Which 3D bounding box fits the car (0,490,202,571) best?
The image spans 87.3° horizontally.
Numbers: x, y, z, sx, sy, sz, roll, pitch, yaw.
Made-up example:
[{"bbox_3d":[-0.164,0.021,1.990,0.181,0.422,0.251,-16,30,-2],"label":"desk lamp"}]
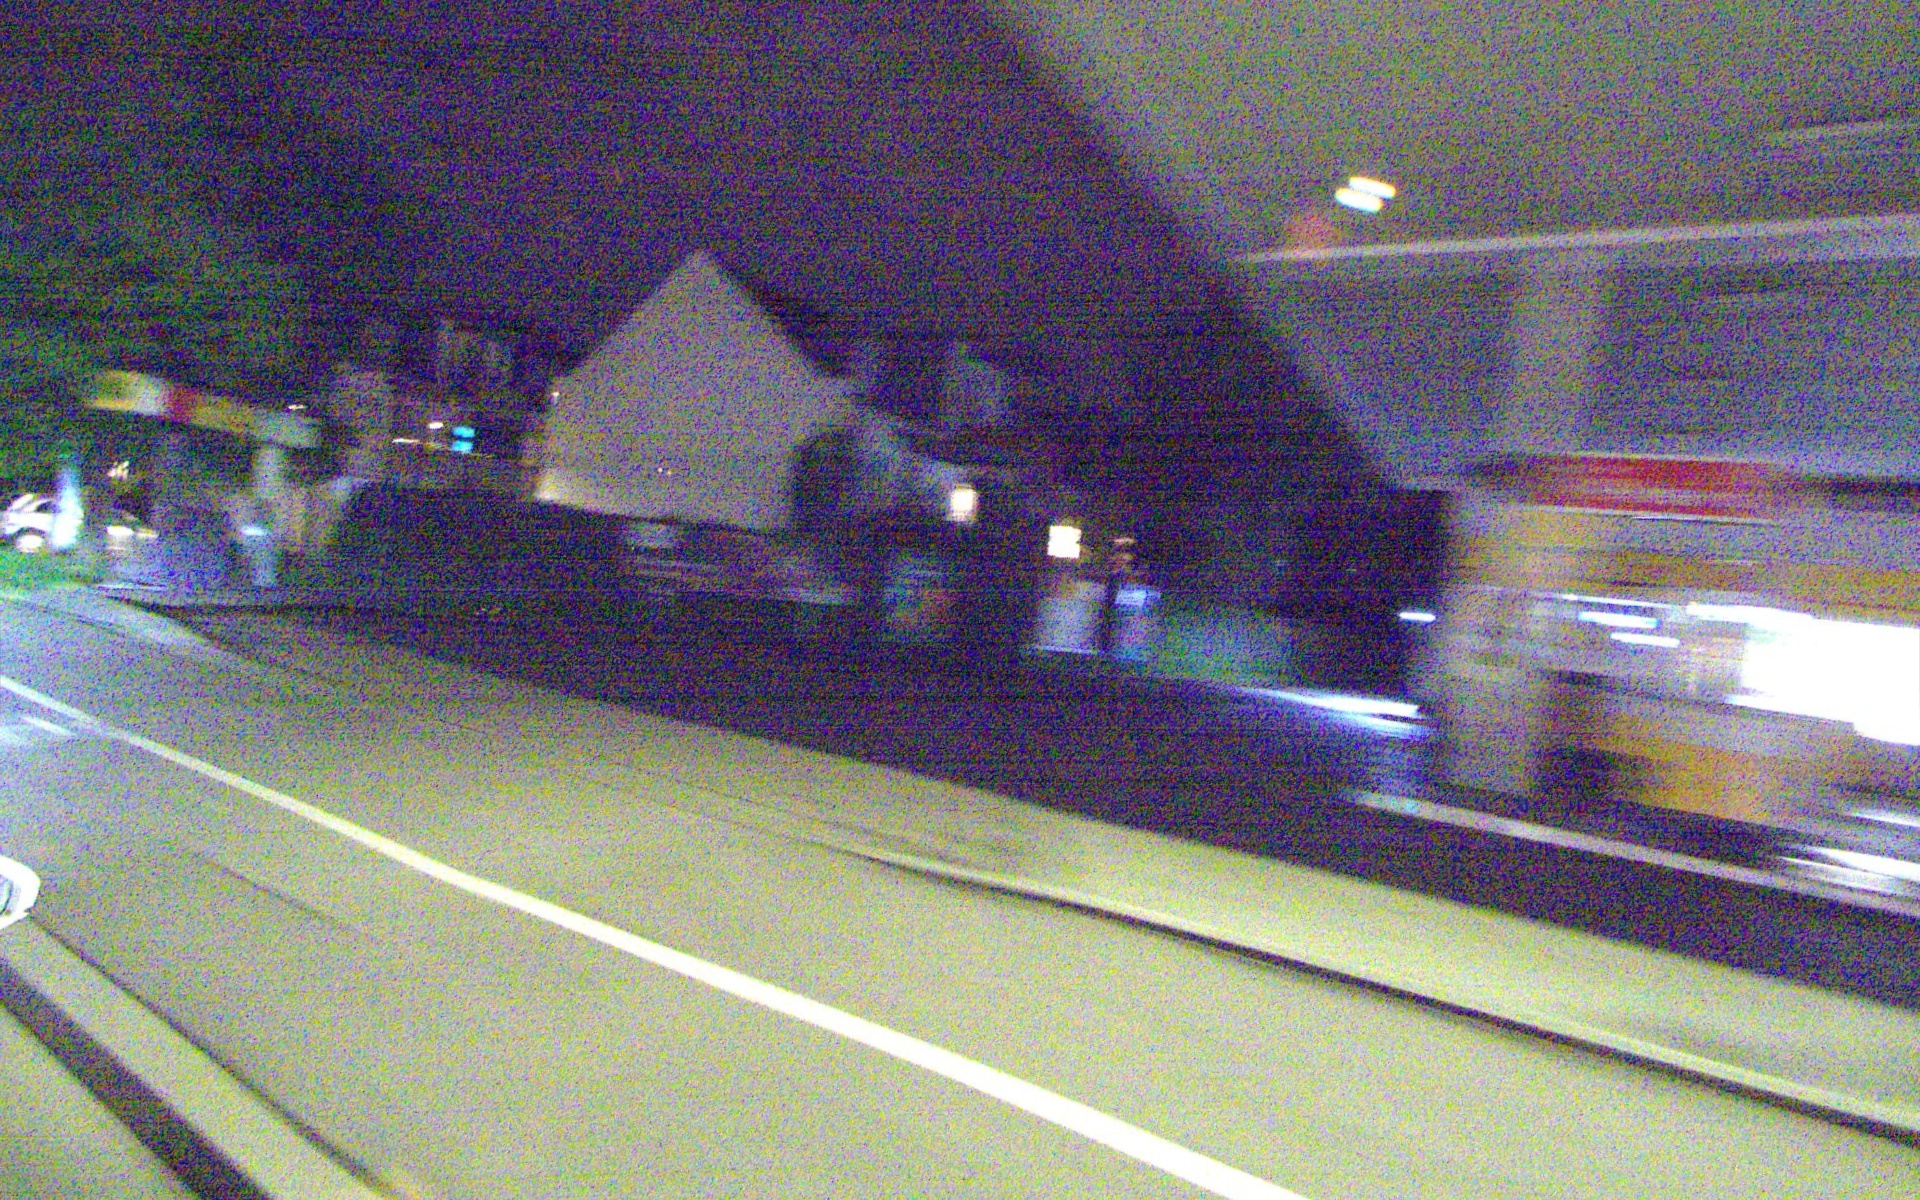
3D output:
[{"bbox_3d":[-20.230,-1.618,23.325,1.829,1.371,3.767,7,0,34],"label":"car"}]
